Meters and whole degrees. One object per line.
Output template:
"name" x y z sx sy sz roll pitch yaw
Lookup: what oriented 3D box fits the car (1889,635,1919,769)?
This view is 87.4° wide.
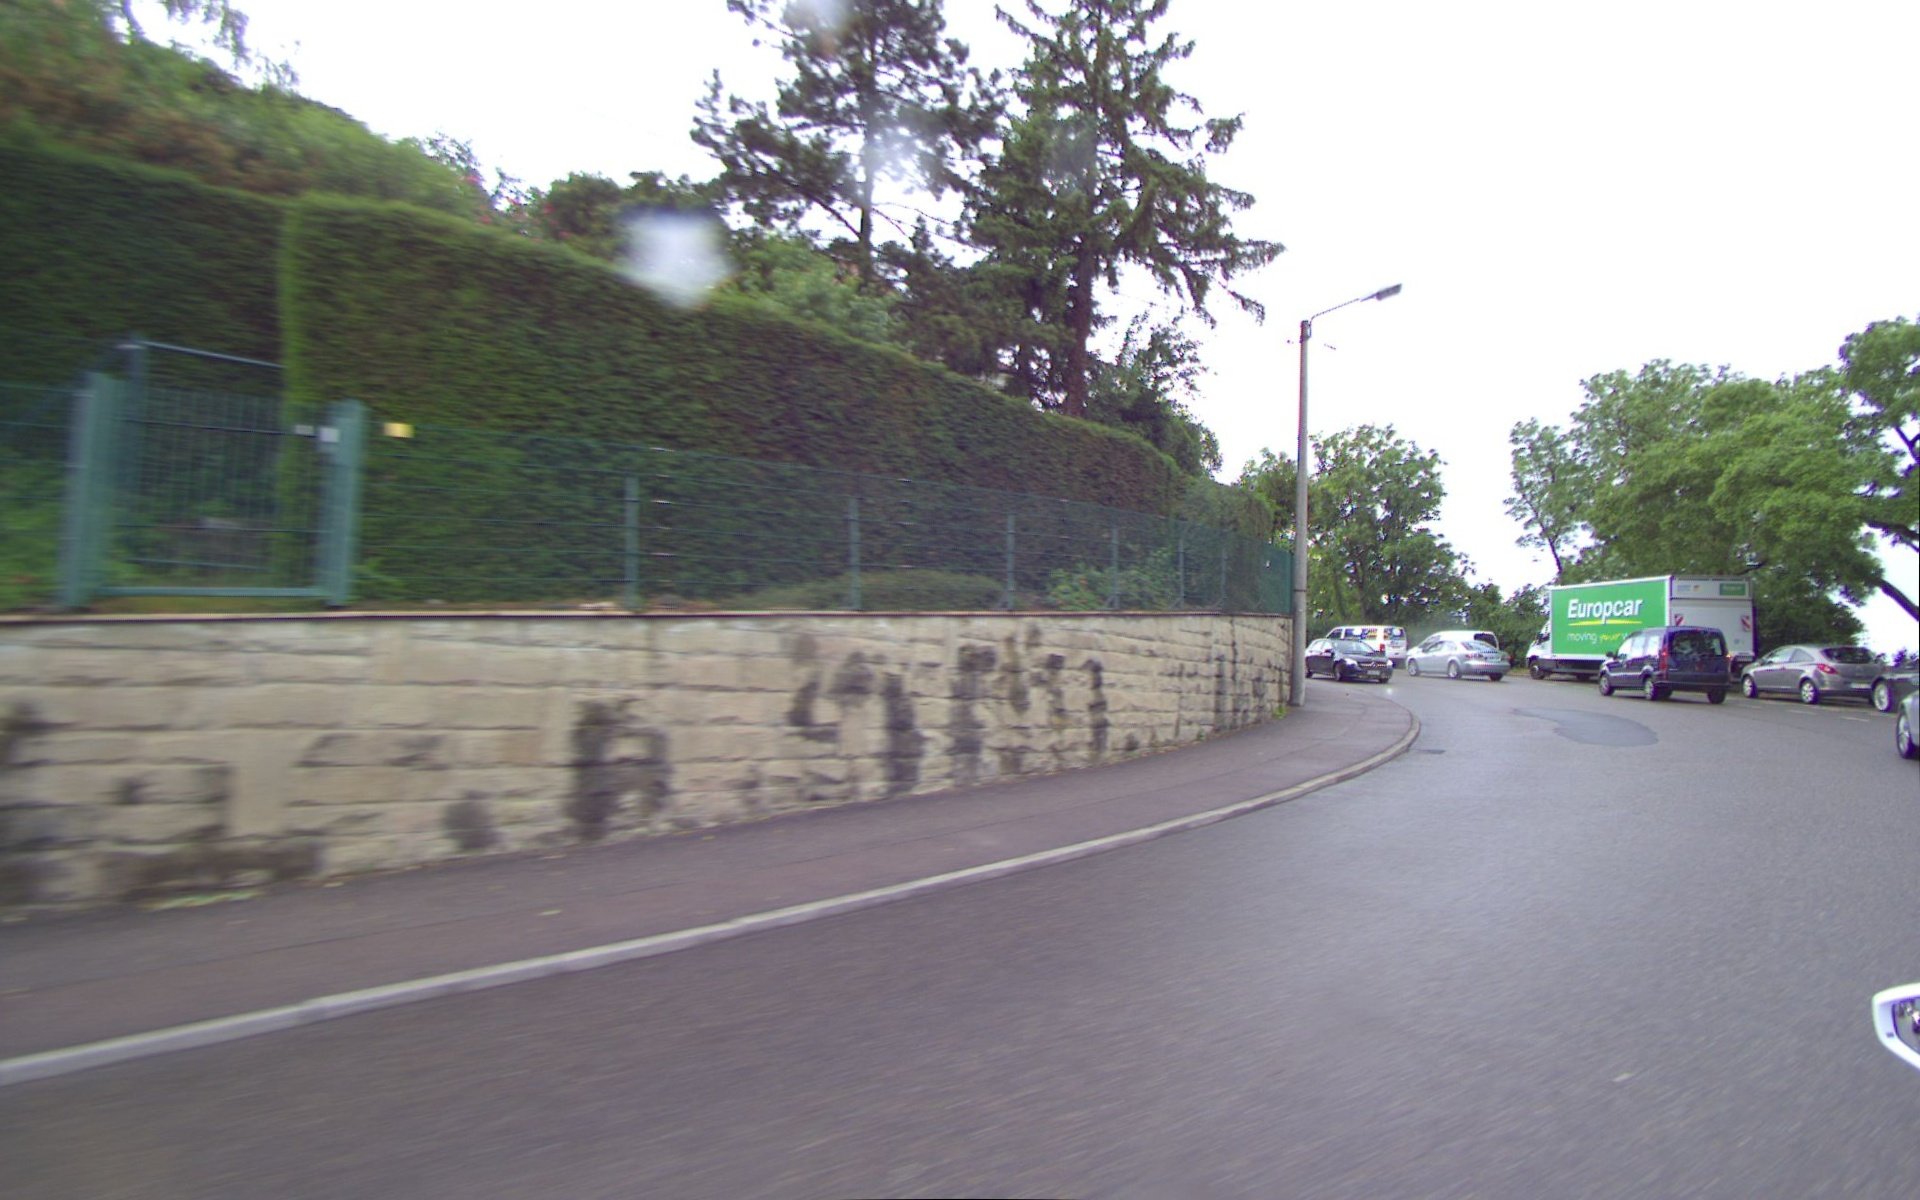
"car" 12.023 1.195 11.161 1.957 1.574 4.284 0 -2 35

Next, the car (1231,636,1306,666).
"car" 16.886 2.767 55.132 1.659 1.432 3.707 5 -3 -34

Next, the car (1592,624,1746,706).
"car" 17.991 1.609 25.729 1.793 1.907 4.098 -1 -2 13

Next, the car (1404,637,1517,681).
"car" 18.124 2.105 36.596 1.824 1.477 4.093 0 -2 -5

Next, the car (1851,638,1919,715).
"car" 20.628 1.572 20.471 1.829 1.563 4.897 -1 -2 18

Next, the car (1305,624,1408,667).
"car" 19.477 2.194 49.546 1.841 1.973 4.777 3 -2 -25

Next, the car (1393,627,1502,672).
"car" 21.297 2.128 44.086 1.836 1.794 4.362 2 -2 -17

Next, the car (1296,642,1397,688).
"car" 13.348 2.219 34.955 1.758 1.453 4.114 2 -2 -3

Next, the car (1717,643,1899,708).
"car" 21.791 1.903 26.044 1.704 1.523 4.139 -1 -2 10

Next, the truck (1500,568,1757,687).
"truck" 22.361 0.955 34.458 2.728 3.516 8.934 0 -2 -1
